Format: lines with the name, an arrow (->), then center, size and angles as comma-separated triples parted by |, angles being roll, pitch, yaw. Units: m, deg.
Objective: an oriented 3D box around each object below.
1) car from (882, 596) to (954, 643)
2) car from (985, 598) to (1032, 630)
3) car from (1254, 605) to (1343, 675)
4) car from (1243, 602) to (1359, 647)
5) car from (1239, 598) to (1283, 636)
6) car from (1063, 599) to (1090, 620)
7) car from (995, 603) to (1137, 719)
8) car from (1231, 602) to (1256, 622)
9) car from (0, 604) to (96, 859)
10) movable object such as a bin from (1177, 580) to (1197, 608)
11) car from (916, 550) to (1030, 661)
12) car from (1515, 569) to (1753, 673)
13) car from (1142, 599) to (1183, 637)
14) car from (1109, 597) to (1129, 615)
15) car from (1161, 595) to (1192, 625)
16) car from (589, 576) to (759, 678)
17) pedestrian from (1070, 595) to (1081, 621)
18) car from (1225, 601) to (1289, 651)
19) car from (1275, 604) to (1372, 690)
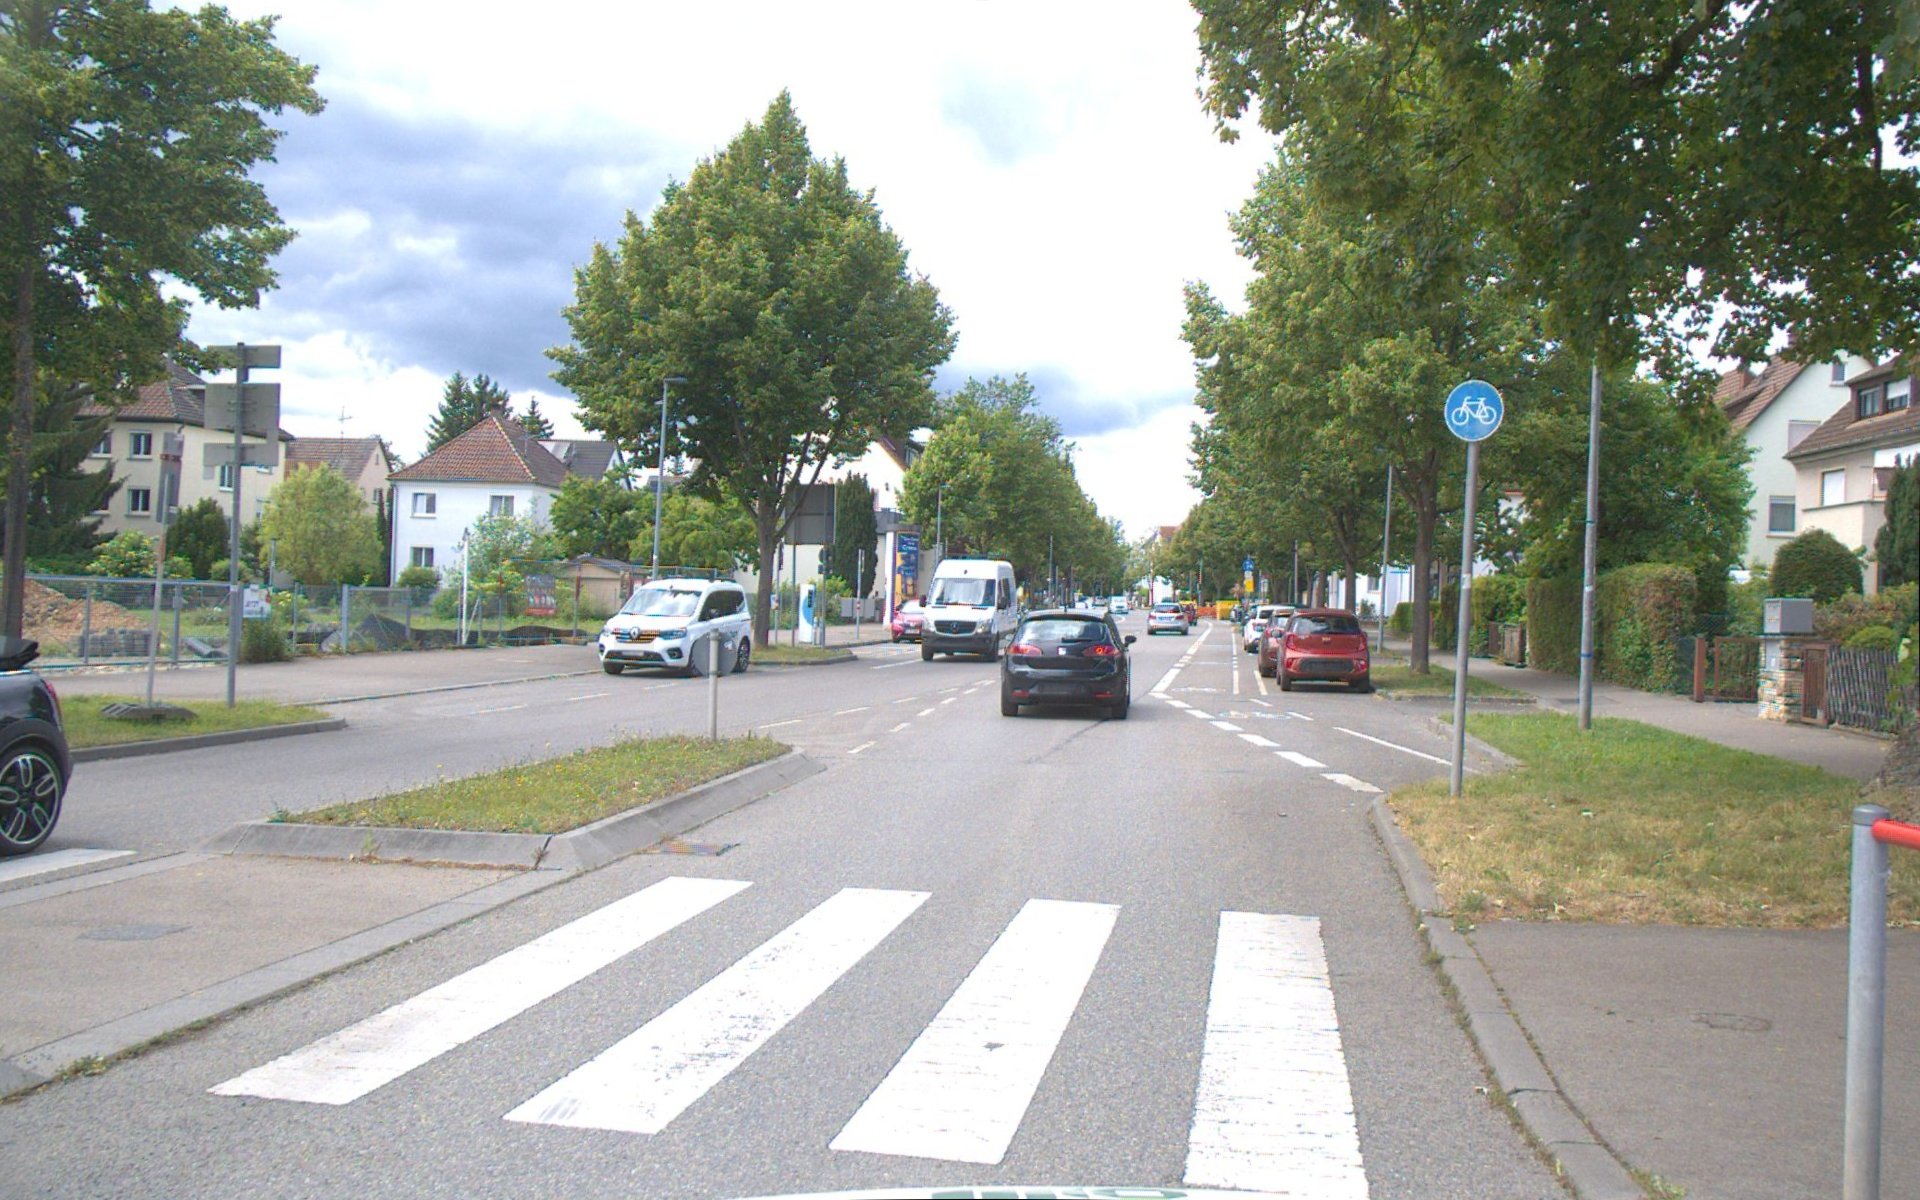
car -> -1.442, 0.655, 58.057 | 1.649, 1.568, 4.136 | 1, 0, 11
car -> 2.386, 0.663, 80.427 | 1.694, 1.494, 4.305 | 0, 0, 10
car -> 7.464, 0.844, 36.753 | 1.617, 1.441, 4.180 | 0, 0, 7
car -> 12.906, 0.901, 62.716 | 4.128, 1.666, 1.694 | 0, 0, 4
car -> 13.617, 0.745, 75.011 | 1.685, 1.608, 4.064 | 1, 0, 7
car -> 8.304, 0.645, 117.805 | 1.608, 1.445, 4.023 | 0, 0, 8
car -> 1.566, 0.784, 23.220 | 1.780, 1.463, 3.742 | 0, 0, 7
car -> 21.164, 0.888, 123.654 | 1.669, 1.480, 4.620 | 1, 0, 8
car -> -6.249, 0.717, 8.119 | 1.539, 1.386, 3.746 | 1, 0, 11
movable object such as a bin -> 21.473, -0.583, 156.468 | 1.731, 2.619, 3.742 | 1, 0, 7
car -> 0.440, 0.128, 44.196 | 1.976, 2.720, 5.811 | 1, 0, 11
car -> 18.248, 0.533, 44.983 | 5.593, 2.637, 1.999 | 1, 1, 5
car -> 9.583, 0.843, 78.263 | 1.865, 1.715, 3.742 | 0, 0, 7
car -> 17.631, 0.664, 183.184 | 1.924, 1.862, 4.823 | 1, 0, 9
car -> 14.351, 0.670, 109.624 | 1.867, 1.914, 4.003 | 1, 0, 6
car -> -5.463, 0.490, 32.197 | 1.732, 1.801, 4.555 | 1, 0, 11
pedestrian -> 7.663, 0.510, 109.971 | 0.531, 1.710, 0.750 | 3, 1, 17
car -> 9.551, 0.808, 53.483 | 1.767, 1.500, 4.816 | 1, 0, 7
car -> 6.811, 0.860, 31.246 | 1.532, 1.481, 3.671 | 1, -1, 9
